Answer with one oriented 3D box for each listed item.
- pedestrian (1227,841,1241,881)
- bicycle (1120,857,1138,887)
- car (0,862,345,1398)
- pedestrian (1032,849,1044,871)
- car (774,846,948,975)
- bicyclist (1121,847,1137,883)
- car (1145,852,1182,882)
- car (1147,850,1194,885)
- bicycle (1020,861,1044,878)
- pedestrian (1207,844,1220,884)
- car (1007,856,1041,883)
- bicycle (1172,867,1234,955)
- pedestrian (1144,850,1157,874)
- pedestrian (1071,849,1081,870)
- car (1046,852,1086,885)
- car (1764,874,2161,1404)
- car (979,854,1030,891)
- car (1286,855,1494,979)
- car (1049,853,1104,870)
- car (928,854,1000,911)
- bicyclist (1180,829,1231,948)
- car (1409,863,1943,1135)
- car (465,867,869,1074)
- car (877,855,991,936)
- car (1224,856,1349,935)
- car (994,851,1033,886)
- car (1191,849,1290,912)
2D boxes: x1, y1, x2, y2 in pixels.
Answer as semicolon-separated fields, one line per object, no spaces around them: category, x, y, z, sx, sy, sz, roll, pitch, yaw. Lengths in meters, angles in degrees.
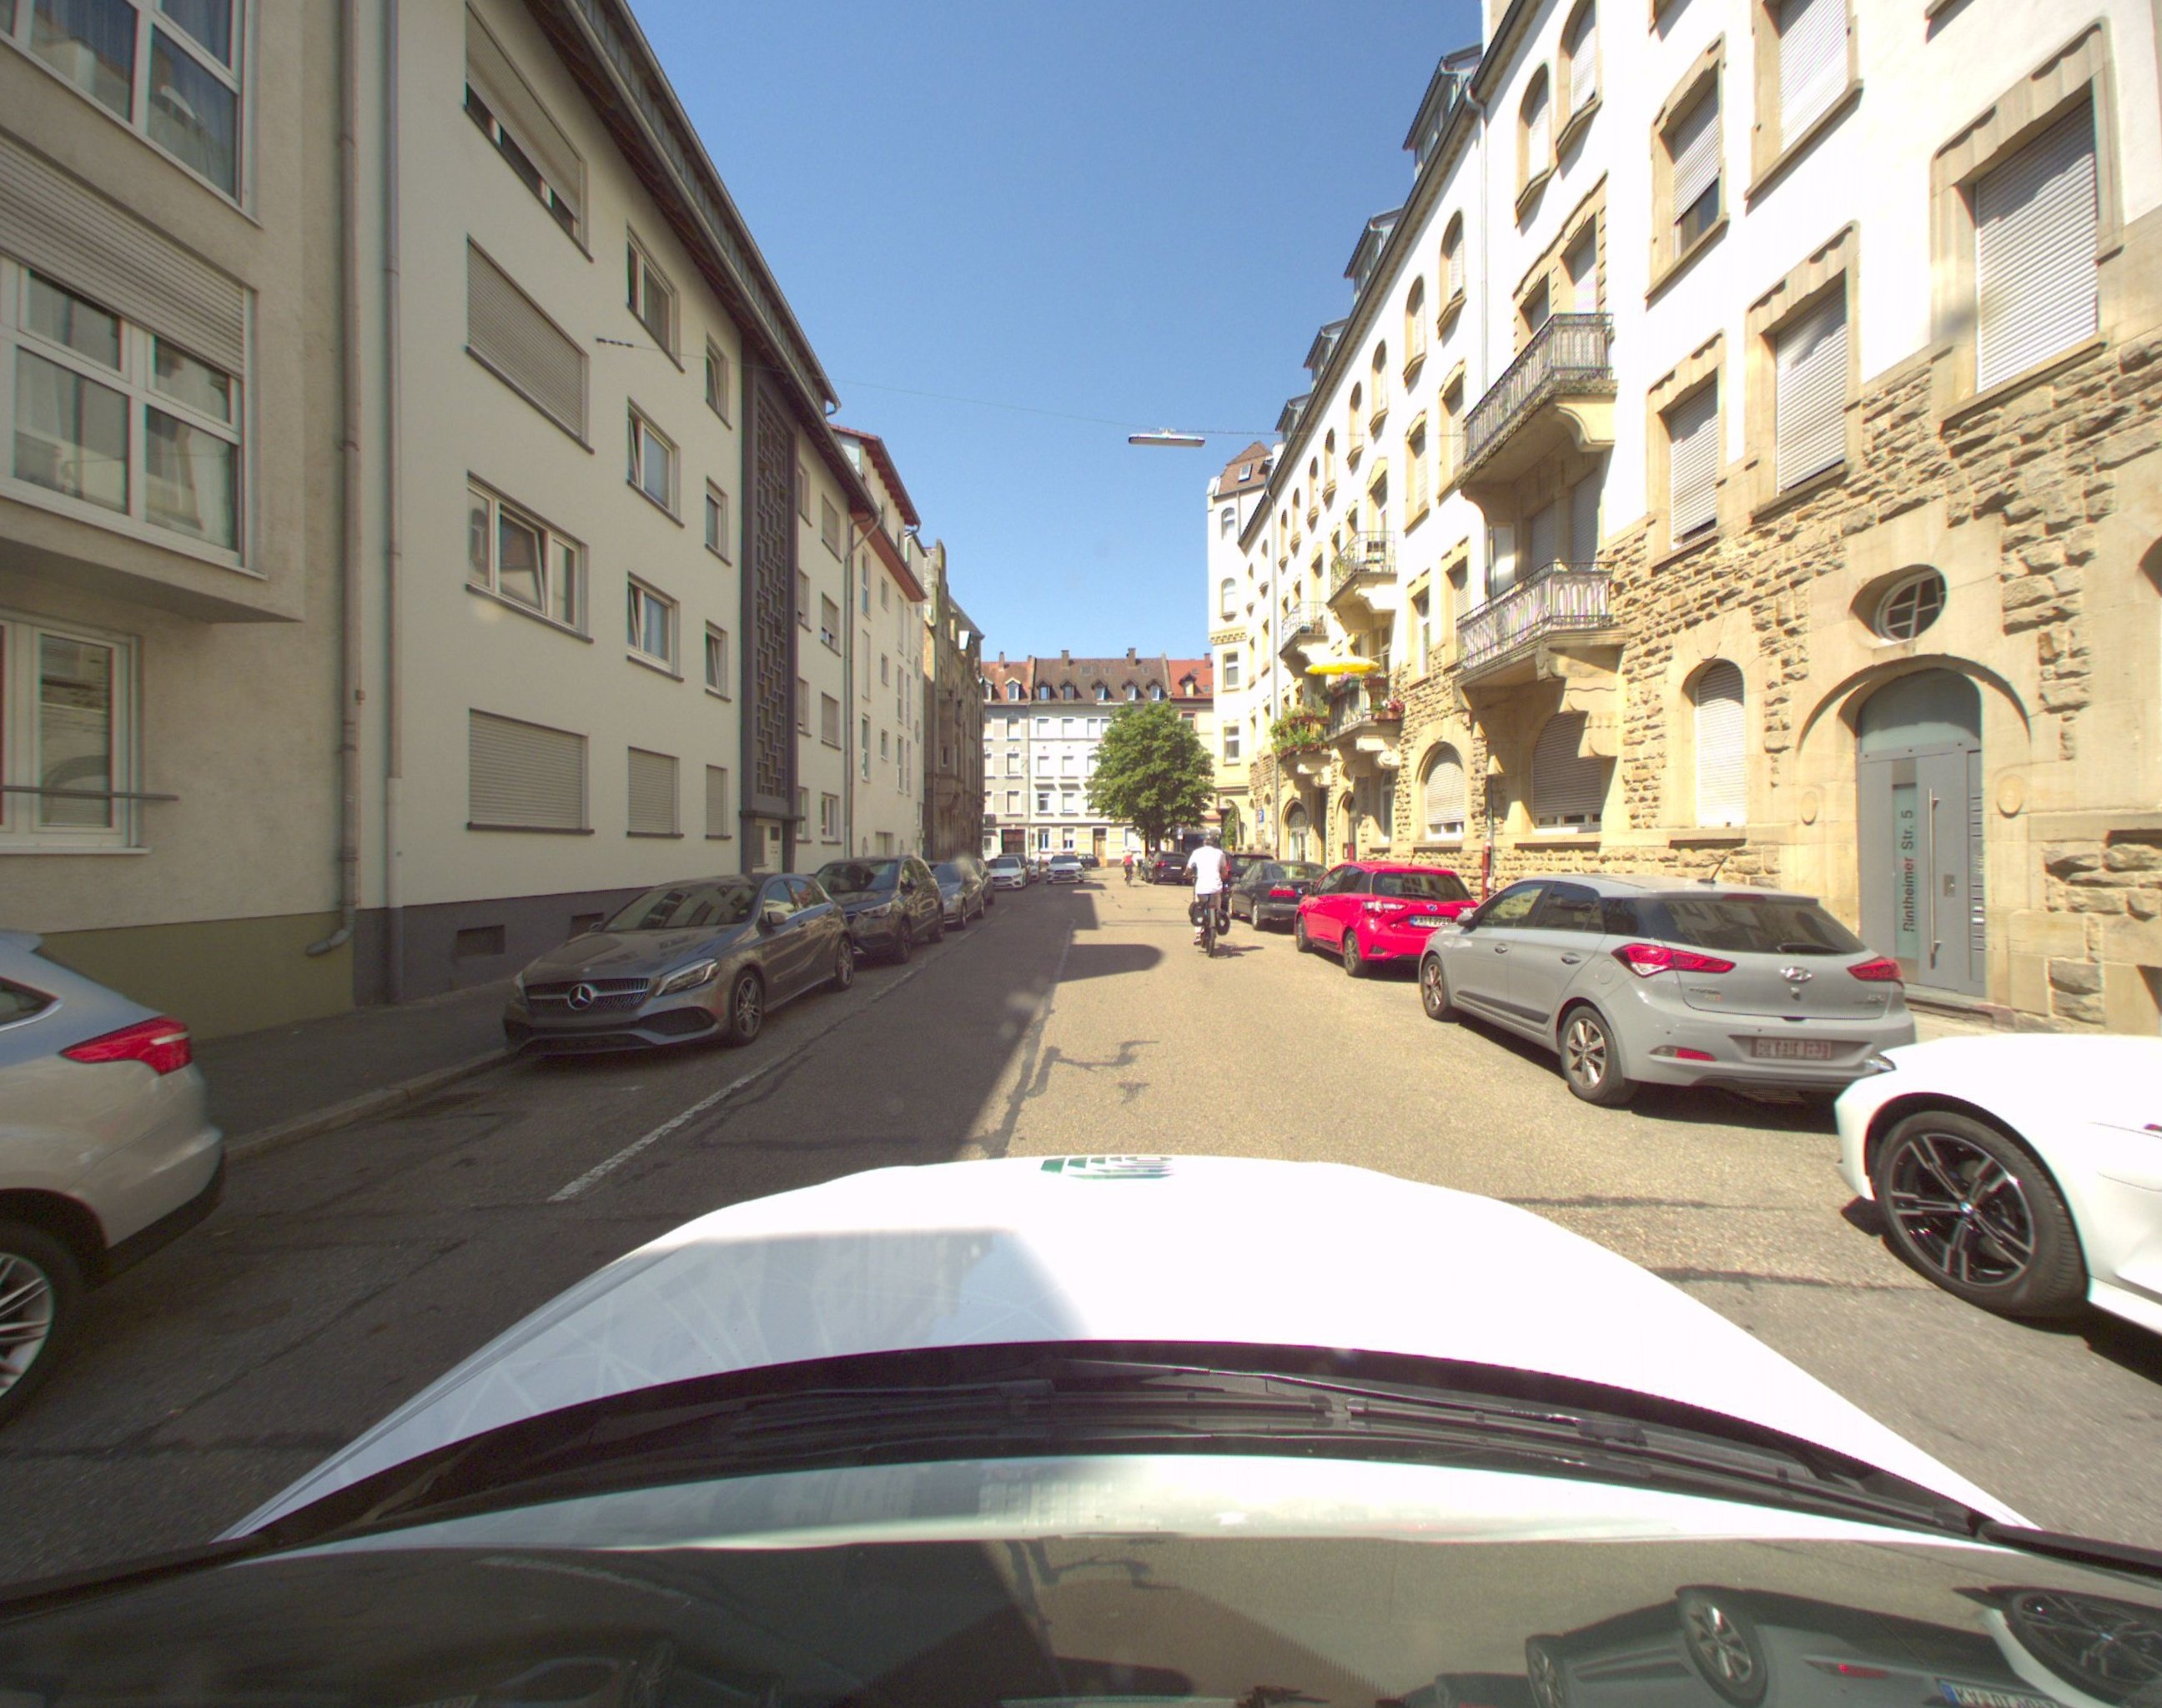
pedestrian;7.210;0.330;38.417;0.596;1.880;0.884;0;-1;5
bicycle;2.074;0.763;35.462;0.649;1.209;2.442;1;0;1
car;-3.925;0.818;1.159;1.725;1.495;4.348;-3;0;0
pedestrian;-3.838;0.537;73.430;0.844;1.889;0.938;-1;-1;11
car;-3.265;0.761;12.870;1.598;1.644;3.976;-3;0;0
bicyclist;2.077;0.492;35.459;0.668;1.533;0.609;-1;-1;1
car;4.573;0.692;45.474;1.657;1.540;4.178;2;0;0
car;4.360;0.640;40.304;1.731;1.597;4.345;2;0;-1
bicycle;-3.170;0.987;52.579;1.522;1.008;0.366;2;-1;-4
pedestrian;6.245;0.450;38.437;0.516;1.869;0.654;0;-1;5
car;-3.137;0.856;45.820;1.697;1.352;4.511;-3;0;-2
bicycle;1.898;0.838;12.958;0.649;1.228;2.442;1;0;1
pedestrian;4.885;0.576;57.270;0.854;1.672;0.774;-1;-1;0
pedestrian;-0.433;0.463;72.213;0.724;1.853;0.682;-1;-1;-10
car;-0.725;0.697;40.958;1.835;1.461;4.361;-3;0;0
car;3.850;0.836;1.380;1.709;1.452;4.601;2;0;3
car;-3.270;0.771;35.463;1.771;1.460;4.278;-3;0;0
car;4.215;0.764;11.755;1.565;1.452;3.843;2;0;1
car;-0.395;0.706;73.672;4.844;1.437;2.000;-1;0;-1
car;-3.446;0.800;24.608;1.562;1.491;3.893;-3;0;0
bicyclist;1.897;0.520;12.514;0.668;1.760;0.609;1;-1;1
car;4.130;0.835;6.523;1.583;1.452;3.859;2;0;3
car;-3.603;0.887;8.157;1.759;1.393;4.348;-3;0;0
car;-3.167;0.828;18.460;1.651;1.518;4.670;-3;0;0
car;4.235;0.785;17.350;1.508;1.398;3.970;4;0;-1
car;-3.347;0.699;40.893;1.668;1.583;4.050;-3;0;-1
car;4.377;0.674;23.056;1.827;1.567;4.603;2;0;-1
